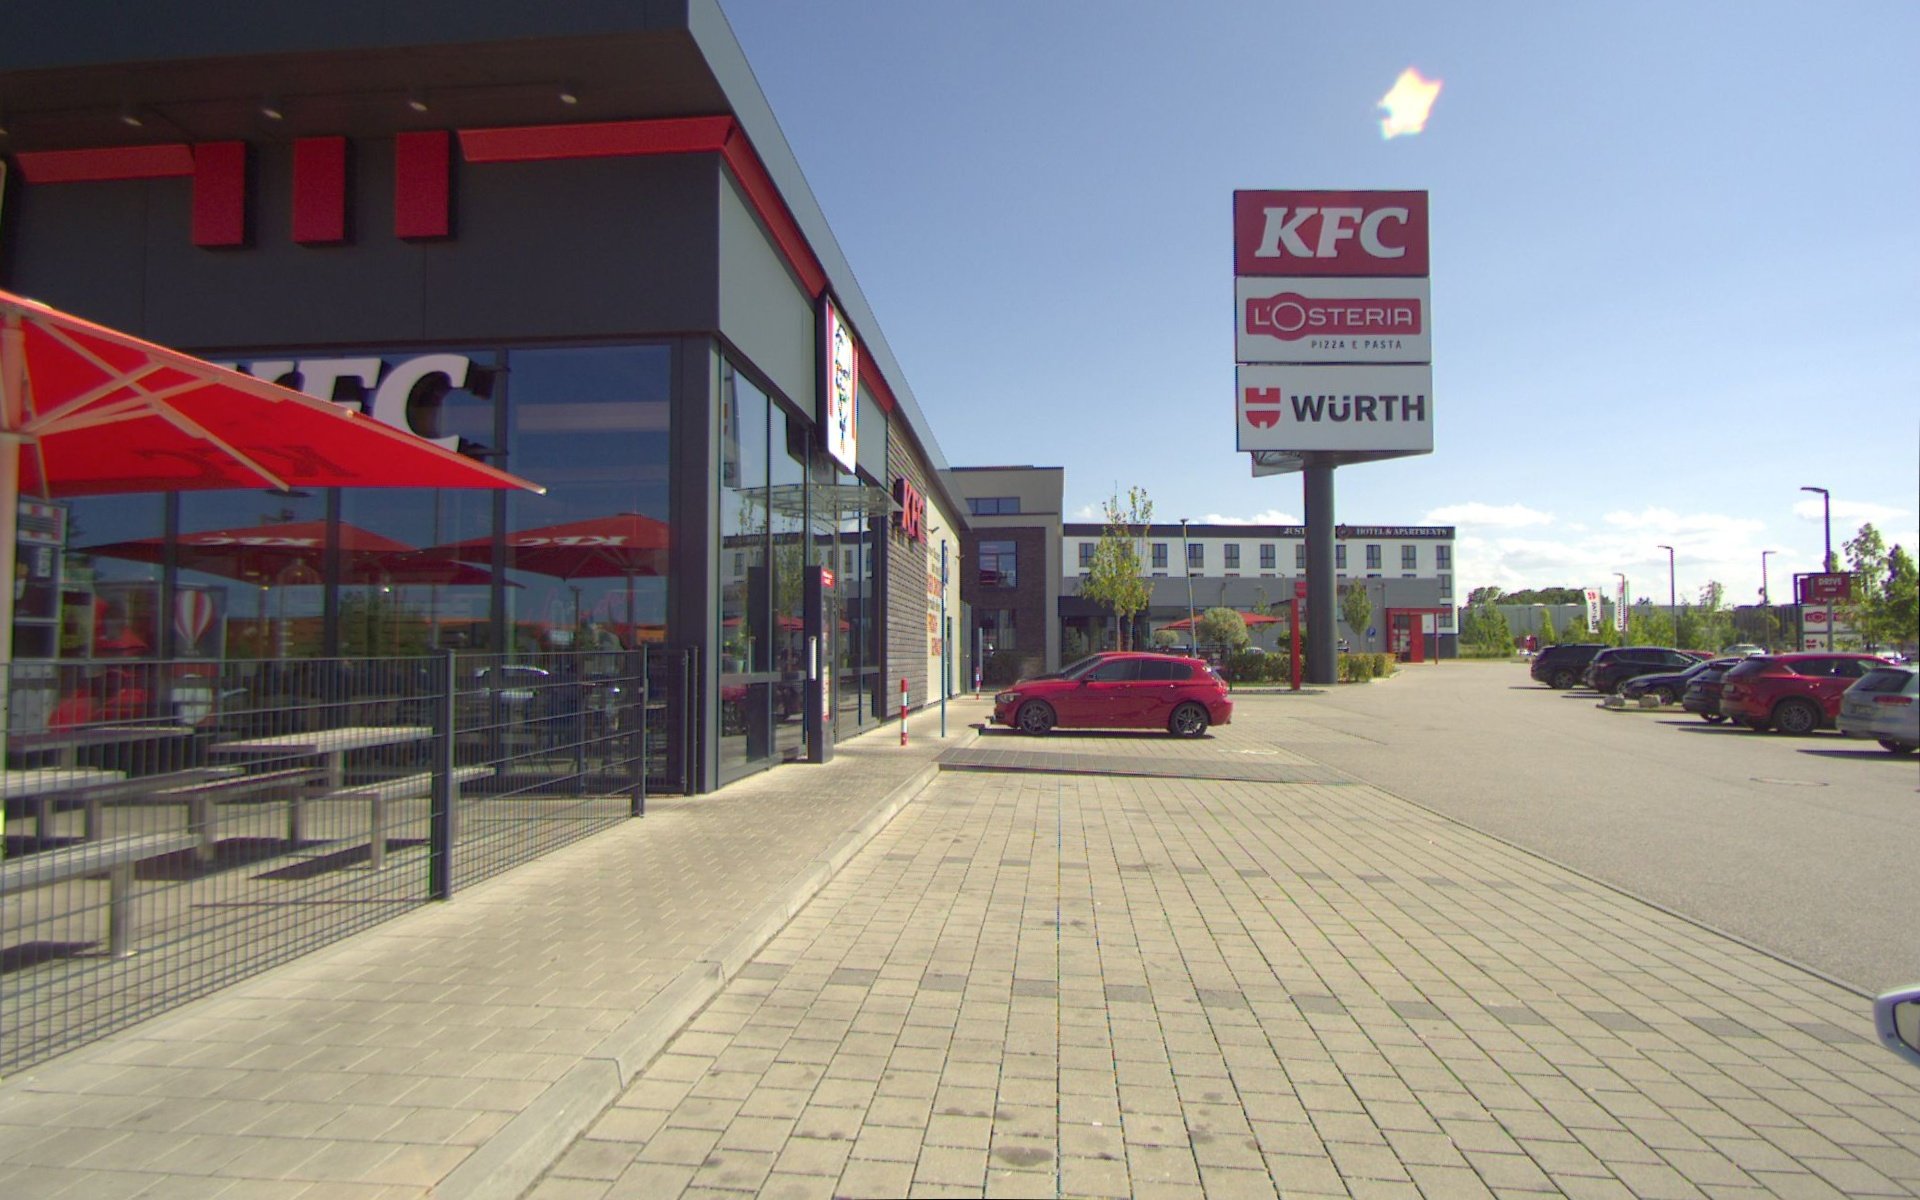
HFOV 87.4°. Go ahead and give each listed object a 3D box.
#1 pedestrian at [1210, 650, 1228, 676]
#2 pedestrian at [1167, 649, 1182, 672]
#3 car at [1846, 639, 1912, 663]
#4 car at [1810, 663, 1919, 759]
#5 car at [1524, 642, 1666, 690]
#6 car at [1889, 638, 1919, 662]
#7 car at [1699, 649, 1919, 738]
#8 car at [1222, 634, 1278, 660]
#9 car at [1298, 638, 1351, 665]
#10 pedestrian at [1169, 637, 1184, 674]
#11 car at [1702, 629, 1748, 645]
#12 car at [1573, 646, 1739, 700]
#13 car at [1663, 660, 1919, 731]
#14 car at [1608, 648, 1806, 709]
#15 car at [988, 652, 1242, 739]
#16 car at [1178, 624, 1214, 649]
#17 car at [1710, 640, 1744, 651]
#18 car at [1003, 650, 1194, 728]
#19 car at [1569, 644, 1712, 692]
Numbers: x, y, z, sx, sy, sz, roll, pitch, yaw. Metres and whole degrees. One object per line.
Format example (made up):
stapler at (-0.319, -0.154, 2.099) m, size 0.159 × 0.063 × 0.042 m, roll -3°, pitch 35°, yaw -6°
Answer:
pedestrian at (11.820, 2.876, 45.850) m, size 0.640 × 1.200 × 0.480 m, roll 0°, pitch -2°, yaw -20°
pedestrian at (11.230, 3.154, 52.575) m, size 0.696 × 1.213 × 0.617 m, roll -1°, pitch -2°, yaw 14°
car at (60.746, 3.348, 66.510) m, size 1.963 × 1.547 × 4.652 m, roll -1°, pitch -2°, yaw 26°
car at (16.464, 1.741, 15.681) m, size 4.510 × 1.431 × 1.741 m, roll 0°, pitch -2°, yaw 18°
car at (25.134, 2.578, 39.963) m, size 4.502 × 1.783 × 1.895 m, roll -1°, pitch -2°, yaw 23°
car at (64.684, 3.341, 67.424) m, size 1.962 × 1.524 × 4.654 m, roll -1°, pitch -2°, yaw 24°
car at (17.836, 1.848, 20.371) m, size 4.147 × 1.659 × 1.952 m, roll 0°, pitch -2°, yaw 18°
car at (18.480, 2.993, 64.219) m, size 1.917 × 1.550 × 4.374 m, roll 0°, pitch -2°, yaw -6°
car at (27.315, 3.848, 75.375) m, size 2.037 × 1.905 × 4.879 m, roll 0°, pitch -2°, yaw -2°
pedestrian at (9.245, 2.368, 42.961) m, size 0.515 × 1.525 × 0.569 m, roll -1°, pitch -2°, yaw 3°
car at (83.409, 4.043, 109.563) m, size 3.593 × 1.619 × 1.716 m, roll -1°, pitch -2°, yaw 6°
car at (23.488, 2.434, 34.080) m, size 4.246 × 1.725 × 1.896 m, roll 0°, pitch -2°, yaw 18°
car at (18.736, 2.127, 22.845) m, size 4.122 × 1.428 × 1.775 m, roll 0°, pitch -2°, yaw 16°
car at (21.931, 2.273, 29.716) m, size 4.367 × 1.659 × 1.894 m, roll -1°, pitch -3°, yaw 25°
car at (2.701, 1.675, 18.104) m, size 4.313 × 1.431 × 1.741 m, roll 0°, pitch -2°, yaw 3°
car at (13.081, 2.064, 55.753) m, size 1.614 × 1.325 × 3.845 m, roll -1°, pitch -3°, yaw 8°
car at (120.912, 7.216, 158.363) m, size 3.881 × 1.679 × 1.907 m, roll 0°, pitch -2°, yaw -2°
car at (2.863, 1.832, 21.159) m, size 3.830 × 1.526 × 1.742 m, roll 0°, pitch -2°, yaw 5°
car at (24.887, 2.473, 36.906) m, size 4.002 × 1.630 × 1.895 m, roll 0°, pitch -2°, yaw 22°
